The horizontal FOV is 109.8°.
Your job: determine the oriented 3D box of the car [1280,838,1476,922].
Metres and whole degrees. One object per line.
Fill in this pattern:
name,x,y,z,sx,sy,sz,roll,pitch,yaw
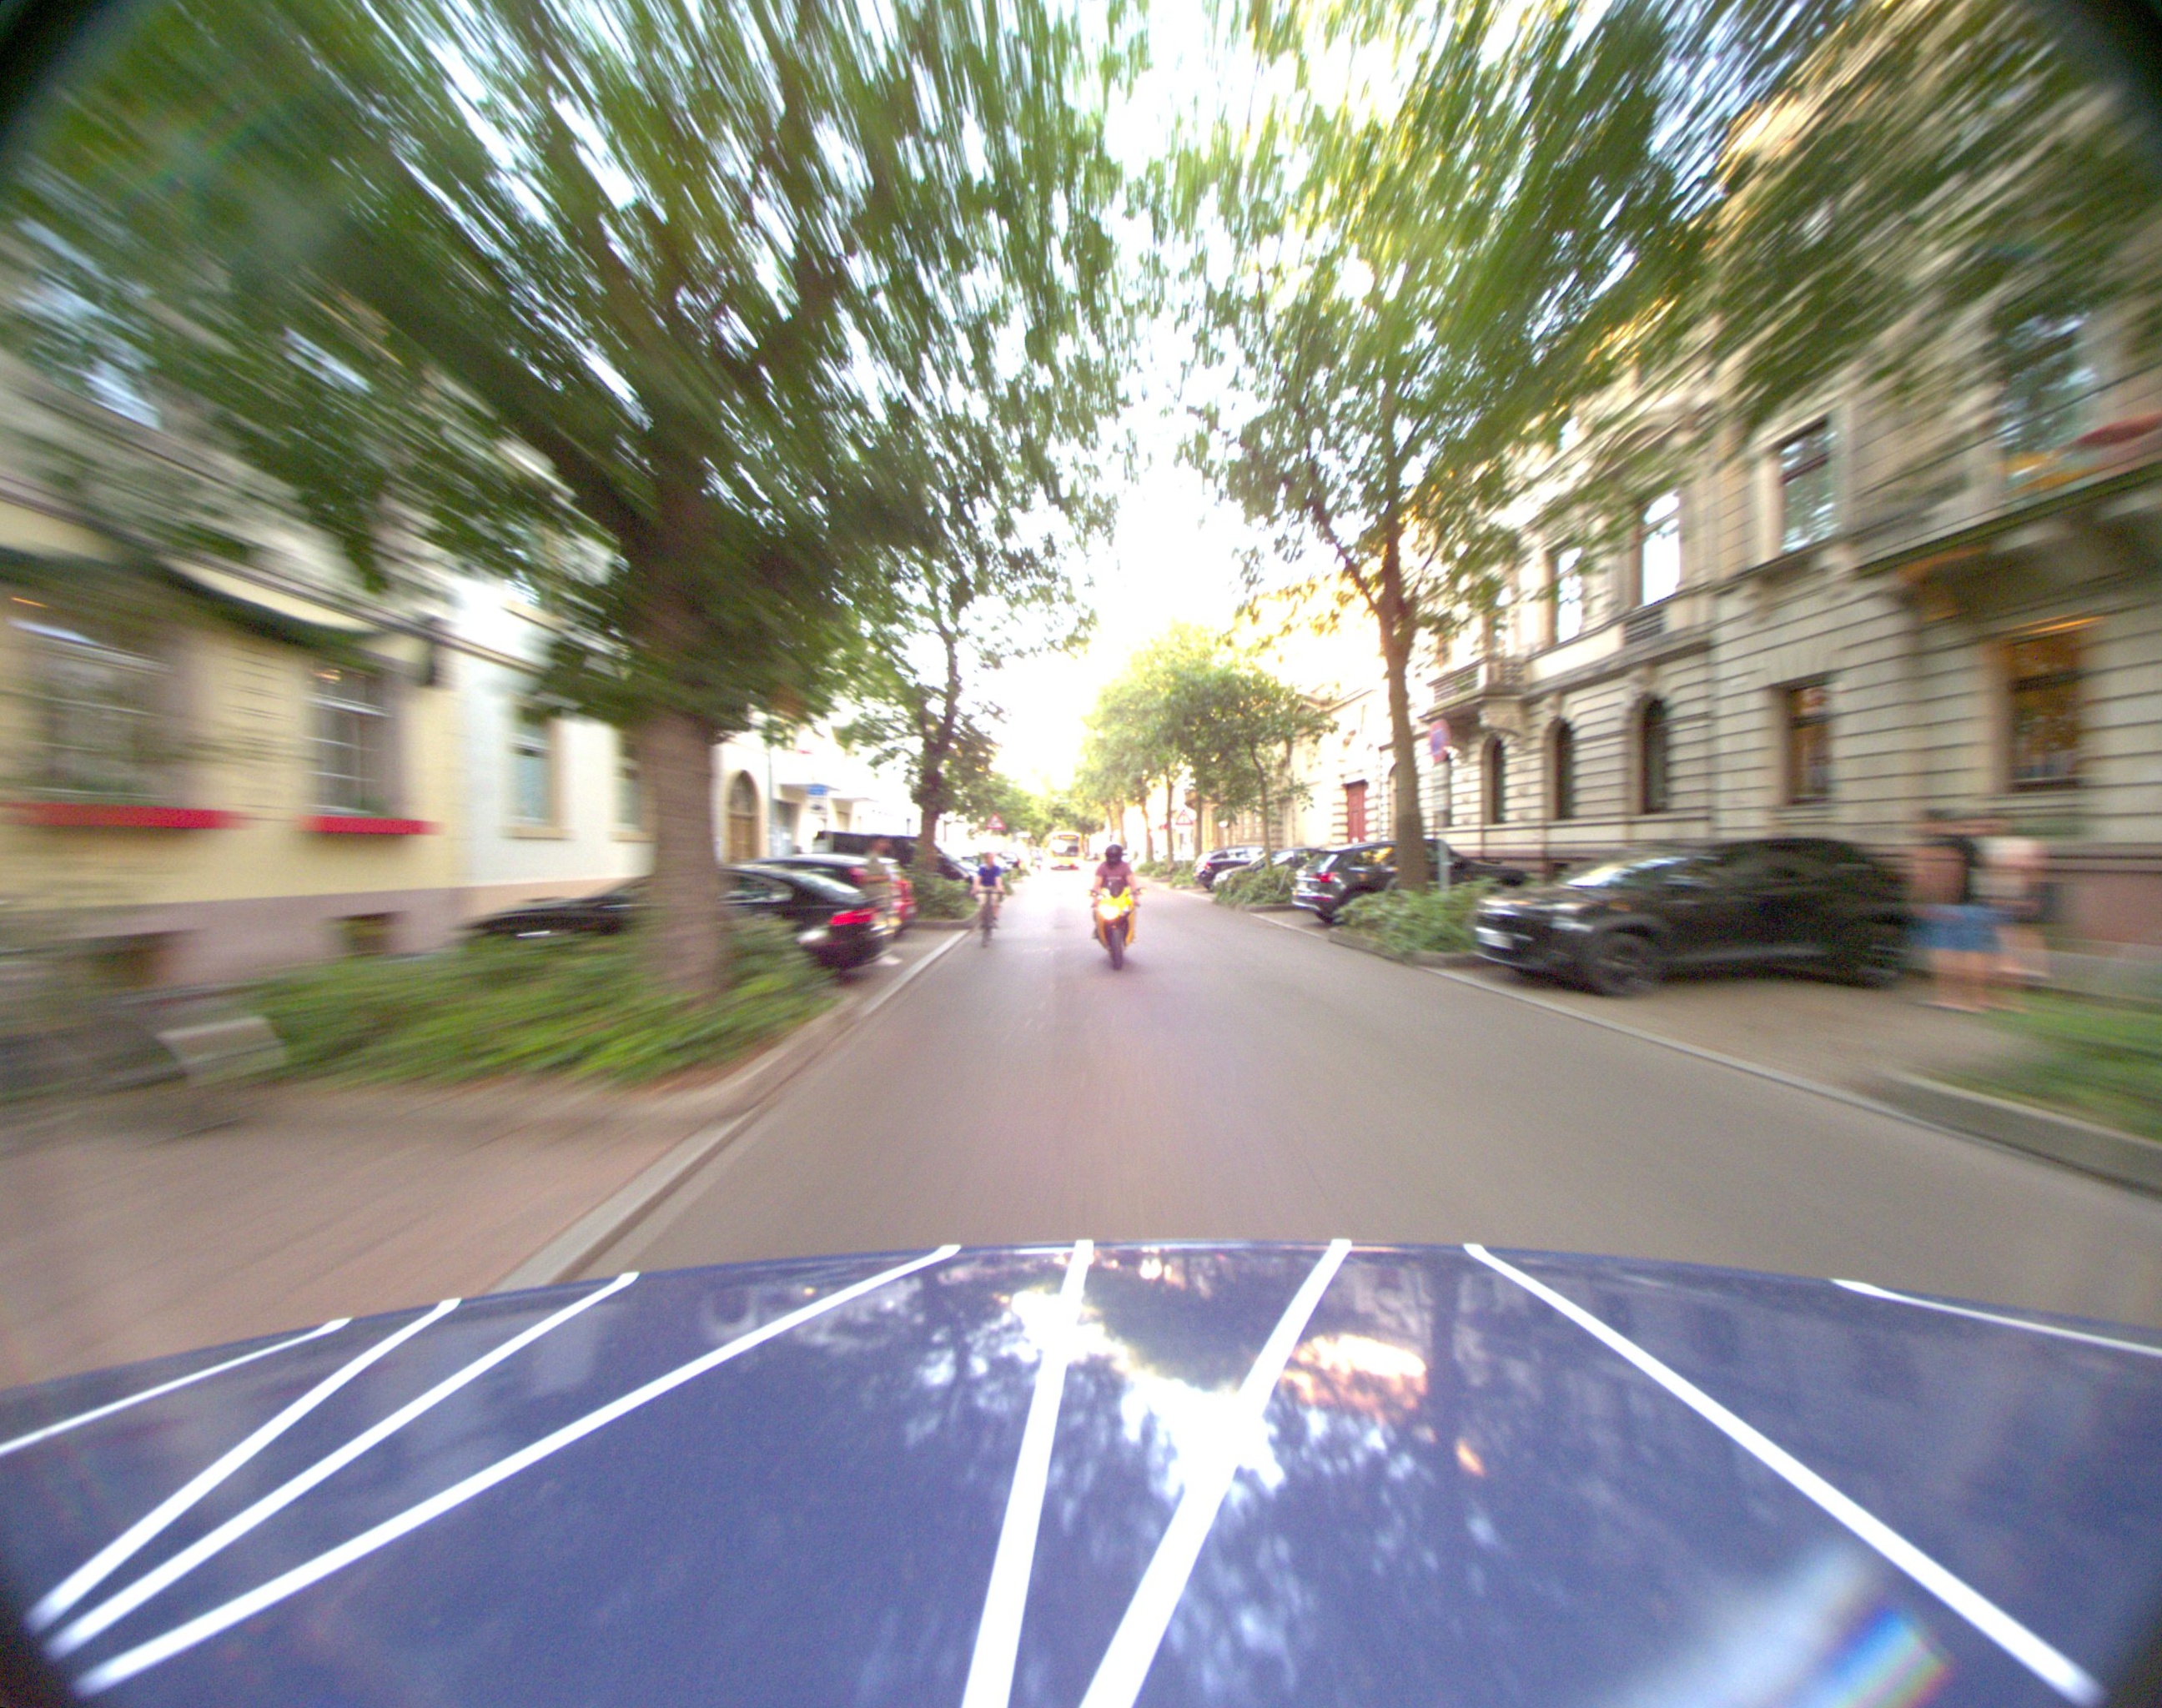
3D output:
car,6.783,0.569,17.584,3.811,1.662,1.714,-3,0,-3

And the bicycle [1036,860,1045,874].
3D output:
bicycle,-3.027,0.950,56.389,0.637,0.977,1.981,-3,0,-3

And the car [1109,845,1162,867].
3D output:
car,4.814,0.136,67.938,4.437,1.712,1.890,-3,1,-4

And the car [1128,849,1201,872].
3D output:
car,5.480,0.410,50.136,4.525,1.382,1.916,-1,1,-1

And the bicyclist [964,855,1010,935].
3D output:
bicyclist,-1.666,0.708,13.510,0.674,1.355,0.776,-3,1,-2

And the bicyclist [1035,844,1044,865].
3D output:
bicyclist,-3.073,0.024,56.347,0.637,1.552,0.818,-3,0,-3

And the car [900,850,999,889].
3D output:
car,-5.400,0.621,31.530,3.803,1.415,1.697,2,1,-3

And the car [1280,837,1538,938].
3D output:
car,6.331,0.620,15.008,4.212,1.662,1.907,-3,0,-2

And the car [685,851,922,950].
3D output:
car,-4.968,0.801,13.997,3.690,1.569,1.714,2,1,-1

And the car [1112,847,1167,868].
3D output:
car,4.610,0.289,60.414,4.181,1.548,1.826,-1,1,1

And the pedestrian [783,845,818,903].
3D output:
pedestrian,-7.967,0.562,21.596,0.671,1.589,0.736,-2,1,-2

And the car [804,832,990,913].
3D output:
car,-5.054,0.501,21.417,4.702,1.999,2.036,2,1,-3

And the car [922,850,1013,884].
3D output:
car,-5.434,0.628,36.704,4.084,1.421,1.818,2,1,0

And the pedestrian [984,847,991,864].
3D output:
pedestrian,-9.940,0.146,80.542,0.699,1.844,1.049,0,0,-4

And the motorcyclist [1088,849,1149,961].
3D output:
motorcyclist,0.480,0.650,10.077,0.737,1.404,0.726,-2,1,0

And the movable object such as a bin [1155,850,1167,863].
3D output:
movable object such as a bin,6.794,0.219,64.459,0.777,1.055,1.316,-1,1,-2

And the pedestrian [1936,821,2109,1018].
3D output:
pedestrian,8.716,0.579,7.066,0.736,1.729,0.671,-2,1,5

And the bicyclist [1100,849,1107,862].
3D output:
bicyclist,2.225,0.162,74.547,0.674,1.256,0.648,-1,1,-3

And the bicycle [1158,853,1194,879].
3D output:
bicycle,4.852,0.615,38.915,1.775,1.225,0.500,-1,2,3

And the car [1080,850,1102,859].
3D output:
car,1.997,0.038,147.789,4.000,1.699,1.843,-1,0,-10

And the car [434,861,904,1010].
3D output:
car,-4.488,0.876,8.901,4.413,1.386,1.885,2,1,-4

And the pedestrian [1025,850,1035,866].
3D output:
pedestrian,-4.867,0.382,72.634,0.600,1.502,0.719,1,1,-31

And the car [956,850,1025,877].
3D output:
car,-5.659,0.564,48.003,4.120,1.608,1.960,-1,1,-1

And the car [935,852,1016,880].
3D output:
car,-5.853,0.641,42.413,4.327,1.487,1.793,0,1,-3

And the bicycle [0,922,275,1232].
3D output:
bicycle,-4.988,0.952,3.415,1.801,1.226,0.672,2,1,-11

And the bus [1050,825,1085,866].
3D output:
bus,-1.268,-0.698,66.684,2.668,3.176,11.895,-2,0,-2

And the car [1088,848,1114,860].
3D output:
car,3.368,0.025,126.696,4.000,1.940,1.998,-1,0,-10

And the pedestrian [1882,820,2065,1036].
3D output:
pedestrian,7.570,0.604,6.481,0.736,1.729,0.671,-2,1,5

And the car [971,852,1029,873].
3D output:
car,-5.754,0.604,54.464,3.997,1.429,1.794,-1,1,-1

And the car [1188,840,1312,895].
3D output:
car,6.060,0.465,27.608,3.975,1.587,1.780,-5,1,-2

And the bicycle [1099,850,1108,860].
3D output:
bicycle,2.221,0.078,74.617,0.674,0.988,1.758,-1,0,-3

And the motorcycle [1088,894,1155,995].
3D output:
motorcycle,0.490,1.120,9.961,0.737,1.053,1.964,-2,1,0

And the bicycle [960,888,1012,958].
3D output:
bicycle,-1.641,1.170,13.435,0.674,1.024,1.976,-3,0,-1

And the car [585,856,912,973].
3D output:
car,-4.732,0.844,11.329,3.998,1.429,1.926,2,1,-3

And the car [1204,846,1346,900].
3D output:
car,6.070,0.589,24.087,3.975,1.379,1.765,-4,0,-1

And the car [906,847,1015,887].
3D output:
car,-5.360,0.583,34.311,4.603,1.569,1.943,2,1,-3

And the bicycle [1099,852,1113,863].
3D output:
bicycle,2.954,0.399,89.250,0.805,1.217,2.421,-5,-2,22

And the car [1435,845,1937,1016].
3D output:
car,6.306,0.735,8.312,3.955,1.523,1.907,-2,1,0
